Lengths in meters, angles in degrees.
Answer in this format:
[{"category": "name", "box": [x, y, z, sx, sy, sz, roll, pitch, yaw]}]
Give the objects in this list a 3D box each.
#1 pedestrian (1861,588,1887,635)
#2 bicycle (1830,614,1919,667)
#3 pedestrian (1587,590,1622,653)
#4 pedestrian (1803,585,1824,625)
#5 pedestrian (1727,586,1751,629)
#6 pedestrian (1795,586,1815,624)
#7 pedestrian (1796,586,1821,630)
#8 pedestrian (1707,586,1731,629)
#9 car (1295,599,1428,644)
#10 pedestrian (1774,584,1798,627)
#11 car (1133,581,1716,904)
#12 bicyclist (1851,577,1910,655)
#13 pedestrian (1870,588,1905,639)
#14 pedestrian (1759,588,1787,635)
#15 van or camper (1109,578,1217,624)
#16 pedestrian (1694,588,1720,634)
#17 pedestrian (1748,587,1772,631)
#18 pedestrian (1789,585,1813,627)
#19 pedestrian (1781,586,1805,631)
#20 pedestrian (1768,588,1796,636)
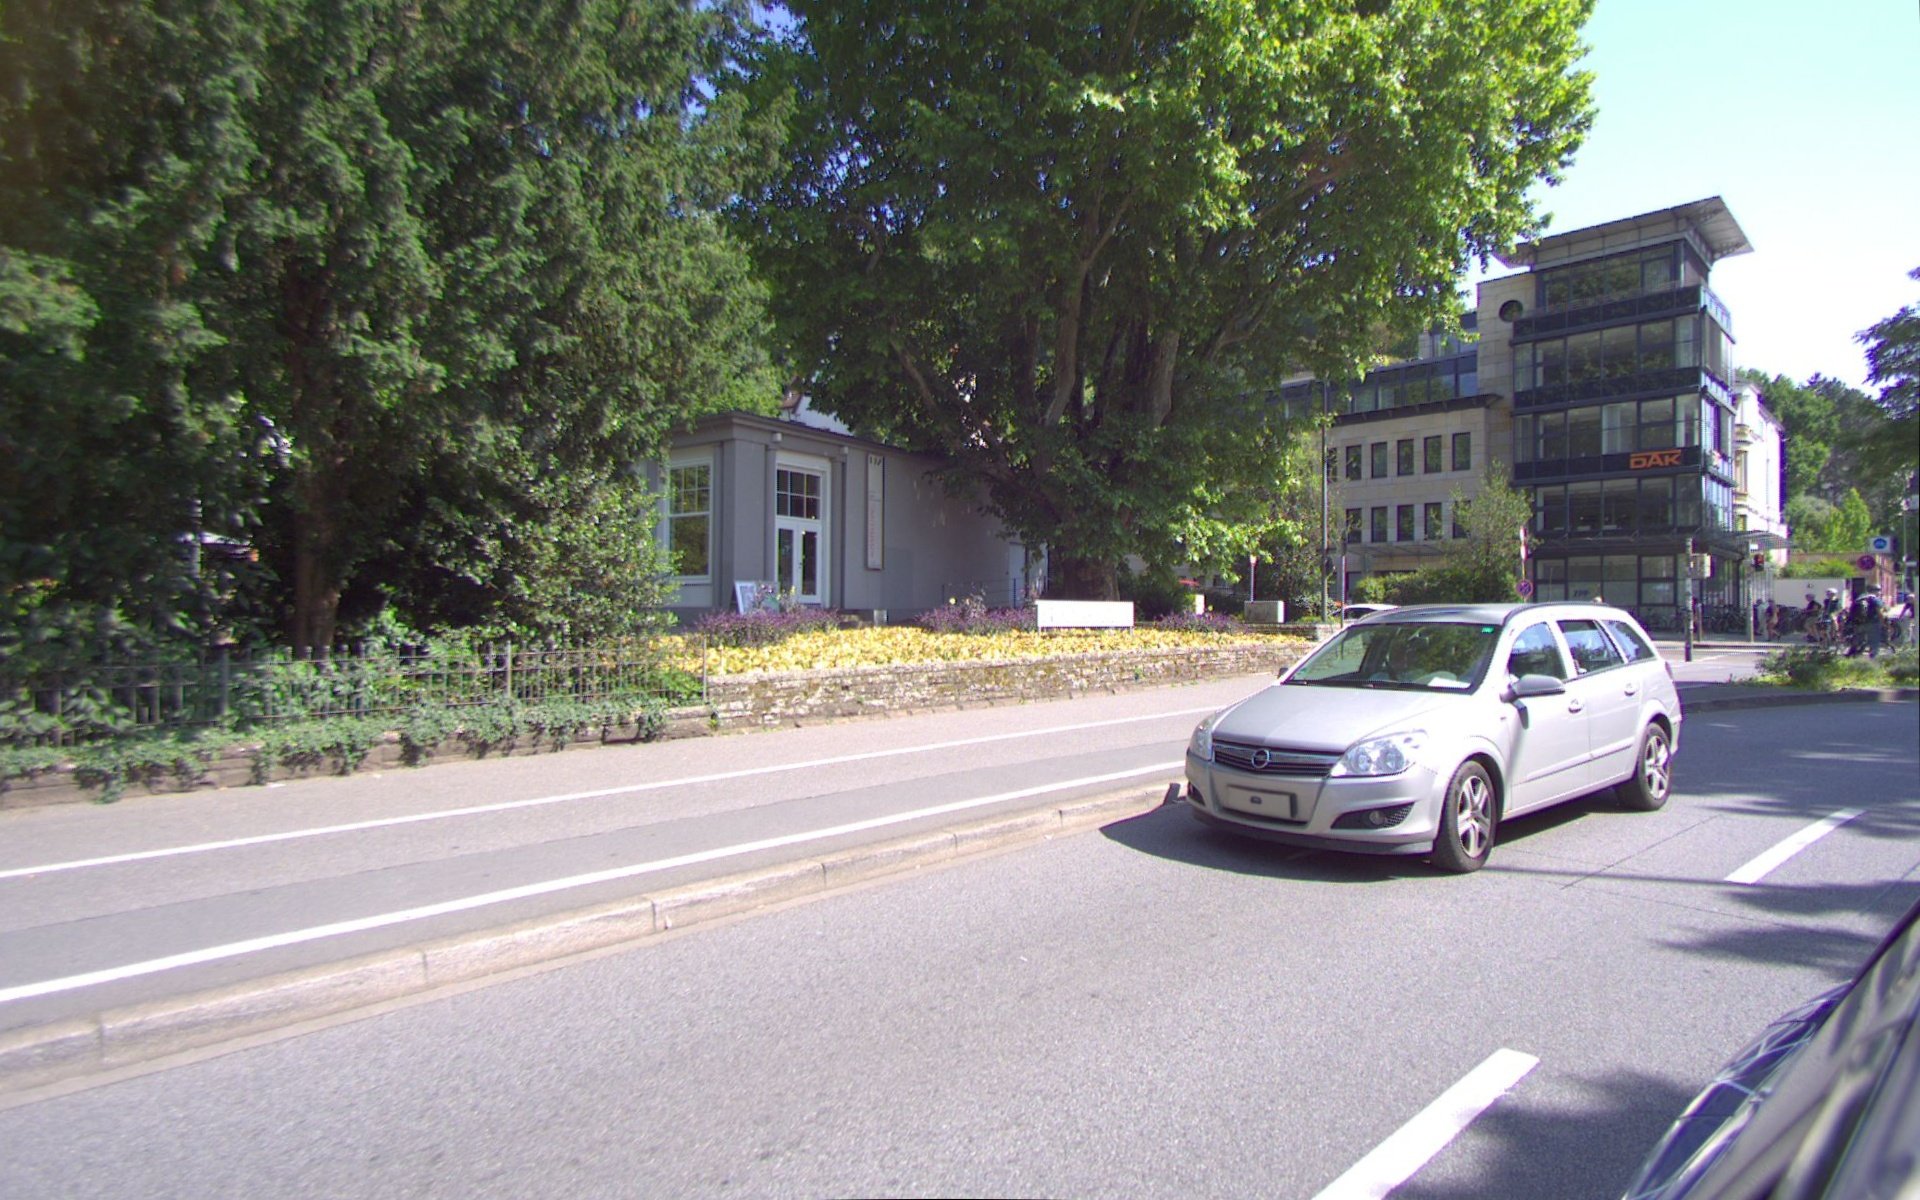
[{"category": "pedestrian", "box": [33.824, 0.420, 37.459, 0.593, 1.727, 0.602, 0, -1, -38]}, {"category": "bicycle", "box": [19.593, 0.836, 21.646, 2.162, 1.068, 0.712, 0, -1, -27]}, {"category": "pedestrian", "box": [17.473, 0.579, 27.441, 0.709, 1.694, 0.526, -1, -1, 43]}, {"category": "pedestrian", "box": [37.541, 0.213, 44.525, 0.594, 1.727, 0.601, 1, -2, -43]}, {"category": "pedestrian", "box": [31.433, 0.315, 40.845, 0.593, 1.727, 0.602, 0, -1, -38]}, {"category": "pedestrian", "box": [38.747, 0.210, 46.401, 0.594, 1.727, 0.601, 1, -2, -43]}, {"category": "pedestrian", "box": [33.844, 0.317, 40.364, 0.593, 1.727, 0.602, 0, -1, -38]}, {"category": "pedestrian", "box": [30.851, 0.313, 41.134, 0.593, 1.727, 0.602, 0, -1, -38]}, {"category": "car", "box": [13.832, 0.731, 34.978, 3.936, 1.470, 1.785, -1, -1, 41]}, {"category": "pedestrian", "box": [33.161, 0.217, 40.638, 0.593, 1.727, 0.602, 0, -2, -38]}, {"category": "car", "box": [3.304, 0.709, 6.837, 4.324, 1.542, 1.712, 1, -1, -37]}, {"category": "bicyclist", "box": [19.761, 0.341, 21.724, 0.717, 1.633, 0.712, 0, -1, -26]}, {"category": "pedestrian", "box": [32.236, 0.469, 35.184, 0.590, 1.727, 0.703, 0, -1, -29]}, {"category": "pedestrian", "box": [30.554, 0.436, 38.035, 0.677, 1.727, 0.604, 0, -1, -36]}, {"category": "van or camper", "box": [10.073, 0.073, 50.376, 4.759, 2.196, 2.391, -1, -1, 41]}, {"category": "pedestrian", "box": [28.578, 0.431, 38.723, 0.592, 1.727, 0.689, 1, -2, -42]}, {"category": "pedestrian", "box": [31.856, 0.346, 40.290, 0.593, 1.727, 0.602, 0, -1, -38]}, {"category": "pedestrian", "box": [34.993, 0.264, 42.096, 0.717, 1.727, 0.602, 0, -1, -39]}, {"category": "pedestrian", "box": [32.578, 0.330, 39.586, 0.593, 1.727, 0.602, 0, -1, -38]}, {"category": "pedestrian", "box": [30.184, 0.448, 37.160, 0.634, 1.727, 0.653, 0, -1, -38]}]
